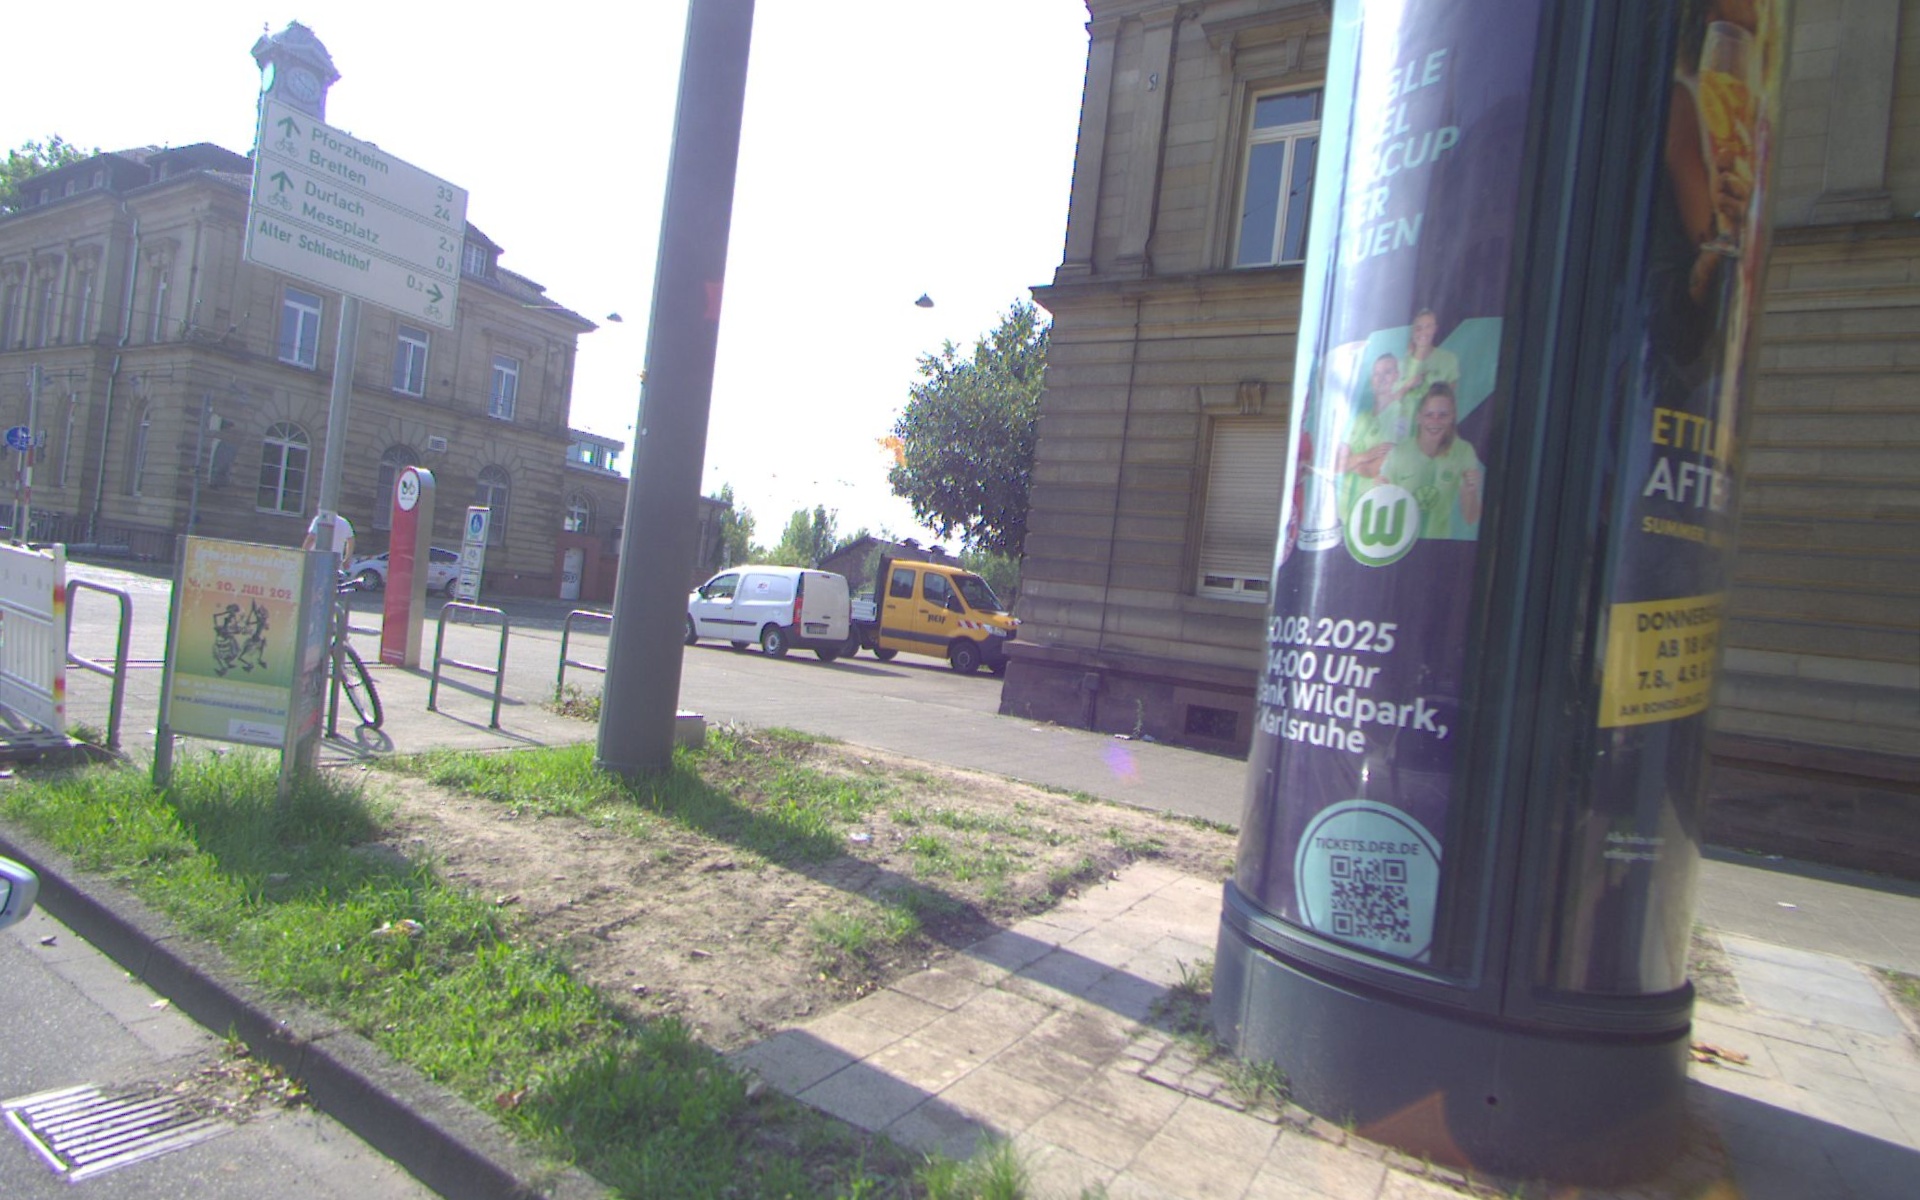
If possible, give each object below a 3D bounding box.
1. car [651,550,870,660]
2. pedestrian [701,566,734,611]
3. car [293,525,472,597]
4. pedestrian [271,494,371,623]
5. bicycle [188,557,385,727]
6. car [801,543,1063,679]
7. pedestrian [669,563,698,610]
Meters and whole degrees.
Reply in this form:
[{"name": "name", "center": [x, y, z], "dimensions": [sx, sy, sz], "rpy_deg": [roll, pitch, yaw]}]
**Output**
[{"name": "car", "center": [-4.182, 0.090, 20.898], "dimensions": [4.155, 1.805, 1.905], "rpy_deg": [6, 1, 32]}, {"name": "pedestrian", "center": [-10.855, -0.502, 45.034], "dimensions": [1.019, 1.887, 0.671], "rpy_deg": [7, 0, 18]}, {"name": "car", "center": [-16.203, -1.056, 28.402], "dimensions": [1.640, 1.556, 3.997], "rpy_deg": [6, 0, 37]}, {"name": "pedestrian", "center": [-9.379, -0.588, 14.785], "dimensions": [0.659, 1.758, 0.868], "rpy_deg": [7, 0, 26]}, {"name": "bicycle", "center": [-4.889, 0.276, 7.274], "dimensions": [1.545, 1.019, 0.538], "rpy_deg": [6, 1, 32]}, {"name": "car", "center": [-0.673, 0.233, 23.243], "dimensions": [5.391, 2.452, 2.263], "rpy_deg": [6, 0, 26]}, {"name": "pedestrian", "center": [-11.752, -0.578, 42.730], "dimensions": [0.857, 1.887, 0.667], "rpy_deg": [7, 0, 43]}]
